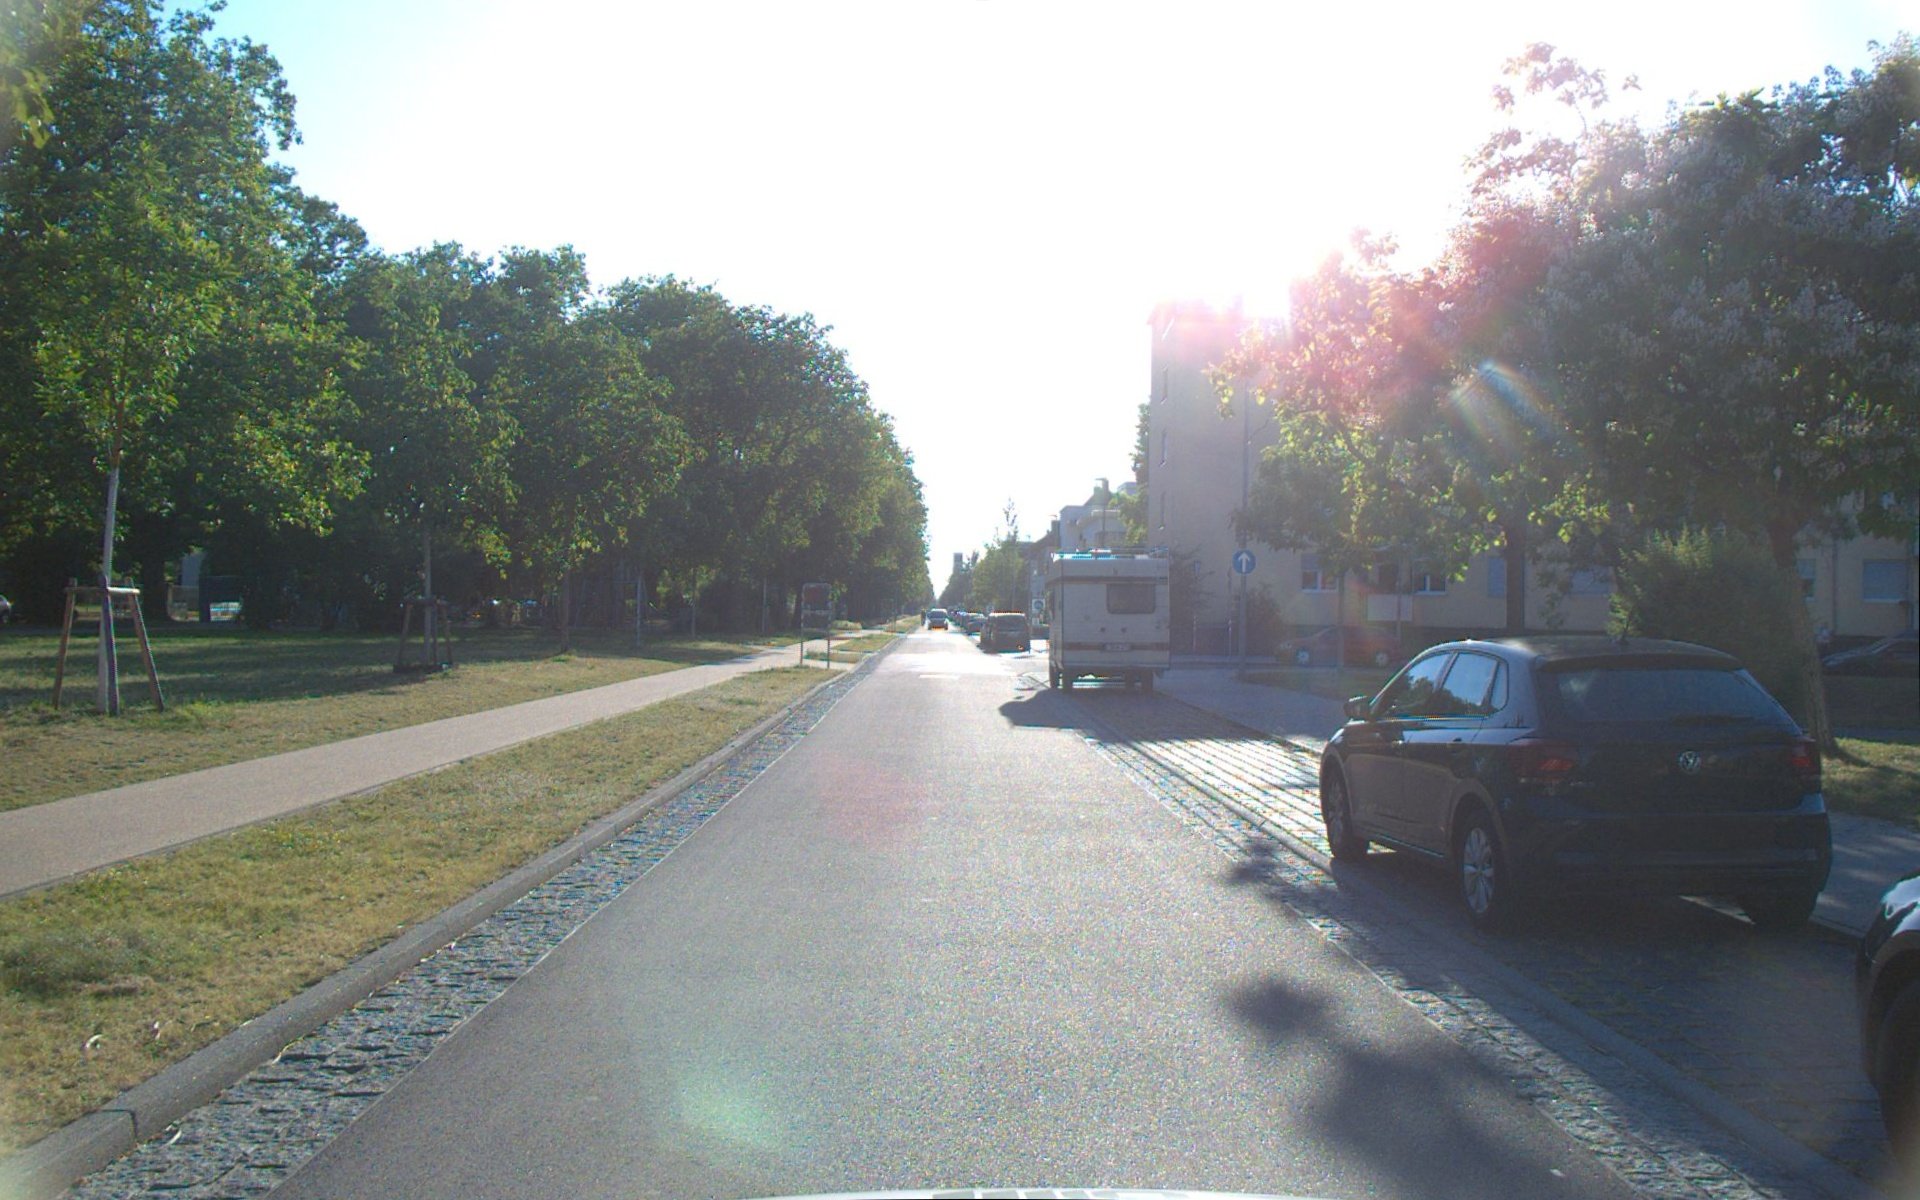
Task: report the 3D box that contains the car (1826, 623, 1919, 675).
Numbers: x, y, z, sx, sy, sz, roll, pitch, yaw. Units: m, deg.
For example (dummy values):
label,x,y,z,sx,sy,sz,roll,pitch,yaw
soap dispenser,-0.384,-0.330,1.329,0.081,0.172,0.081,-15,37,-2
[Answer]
label,x,y,z,sx,sy,sz,roll,pitch,yaw
car,30.229,1.557,52.664,4.416,1.597,1.881,0,-1,18

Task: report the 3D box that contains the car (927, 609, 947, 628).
label,x,y,z,sx,sy,sz,roll,pitch,yaw
car,-2.150,1.715,150.974,1.789,1.698,4.248,1,-1,-1

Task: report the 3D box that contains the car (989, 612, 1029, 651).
label,x,y,z,sx,sy,sz,roll,pitch,yaw
car,2.207,1.430,75.747,1.593,1.698,4.248,1,-1,-1

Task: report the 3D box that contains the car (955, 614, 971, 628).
label,x,y,z,sx,sy,sz,roll,pitch,yaw
car,0.304,2.218,177.104,1.593,1.434,4.248,1,-1,-1

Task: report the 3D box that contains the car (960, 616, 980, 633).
label,x,y,z,sx,sy,sz,roll,pitch,yaw
car,0.813,2.057,139.874,1.593,1.434,4.248,1,-1,-1

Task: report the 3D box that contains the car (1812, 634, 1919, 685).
label,x,y,z,sx,sy,sz,roll,pitch,yaw
car,26.801,1.694,47.354,4.108,1.381,1.693,0,-1,20

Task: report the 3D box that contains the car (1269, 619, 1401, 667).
label,x,y,z,sx,sy,sz,roll,pitch,yaw
car,12.765,1.455,56.492,4.107,1.557,2.001,1,-1,3

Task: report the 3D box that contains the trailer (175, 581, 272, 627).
label,x,y,z,sx,sy,sz,roll,pitch,yaw
trailer,-42.264,0.263,95.161,2.409,2.532,7.049,1,-1,0

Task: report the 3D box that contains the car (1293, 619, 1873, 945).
label,x,y,z,sx,sy,sz,roll,pitch,yaw
car,3.317,0.875,9.761,1.594,1.490,4.245,1,-1,-4

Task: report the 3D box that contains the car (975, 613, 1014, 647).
label,x,y,z,sx,sy,sz,roll,pitch,yaw
car,1.836,1.572,86.822,1.952,1.747,4.001,1,-1,2

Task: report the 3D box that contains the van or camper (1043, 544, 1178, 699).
label,x,y,z,sx,sy,sz,roll,pitch,yaw
van or camper,3.024,0.499,34.470,2.189,2.955,5.670,1,-2,-1

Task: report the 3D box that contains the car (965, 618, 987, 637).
label,x,y,z,sx,sy,sz,roll,pitch,yaw
car,1.223,2.163,129.304,1.593,1.434,4.248,1,-1,-1

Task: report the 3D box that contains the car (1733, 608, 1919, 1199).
label,x,y,z,sx,sy,sz,roll,pitch,yaw
car,3.421,0.800,3.180,1.697,1.578,4.420,1,-1,-2

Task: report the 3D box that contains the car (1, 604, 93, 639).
label,x,y,z,sx,sy,sz,roll,pitch,yaw
car,-42.159,0.990,76.505,1.953,1.534,4.115,1,-1,0

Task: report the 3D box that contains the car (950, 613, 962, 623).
label,x,y,z,sx,sy,sz,roll,pitch,yaw
car,-0.588,2.506,229.304,1.593,1.434,4.248,1,-1,-1
